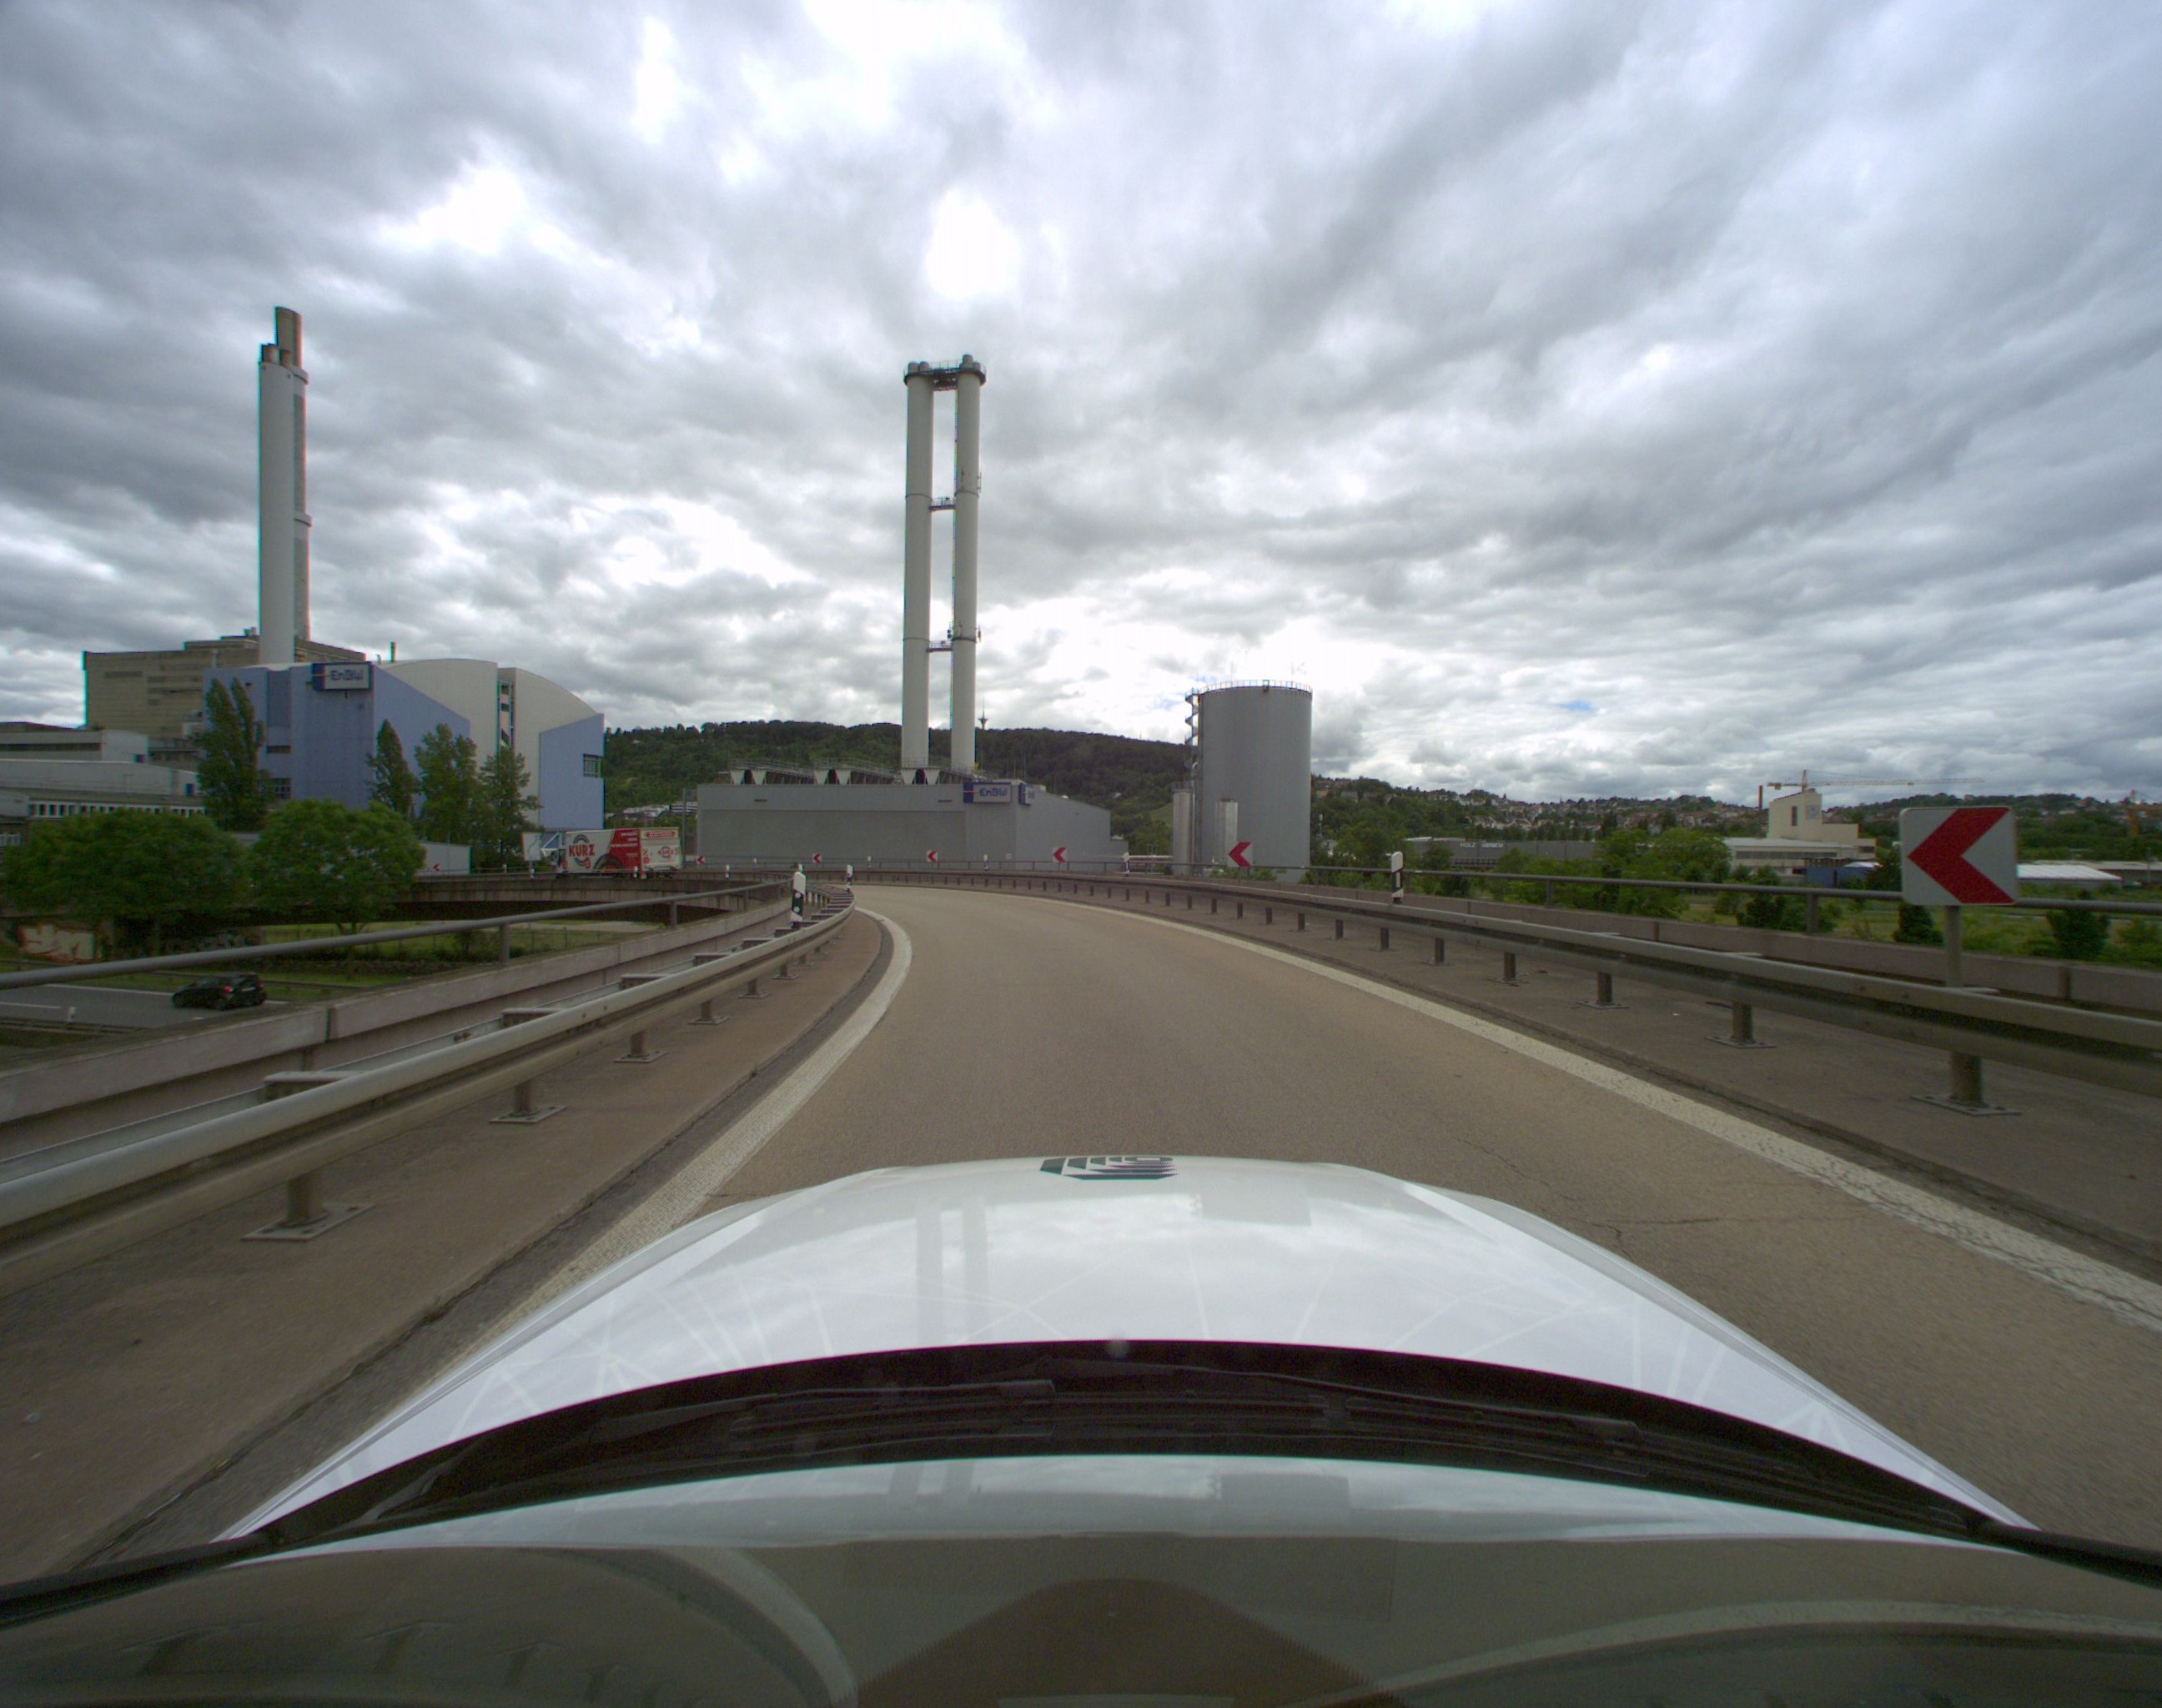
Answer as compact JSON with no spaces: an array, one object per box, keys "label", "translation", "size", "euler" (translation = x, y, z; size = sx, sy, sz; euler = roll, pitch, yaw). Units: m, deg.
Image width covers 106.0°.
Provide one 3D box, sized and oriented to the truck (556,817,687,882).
[{"label":"truck","translation":[-27.853,-0.254,49.300],"size":[7.827,3.673,3.079],"euler":[0,0,27]}]
